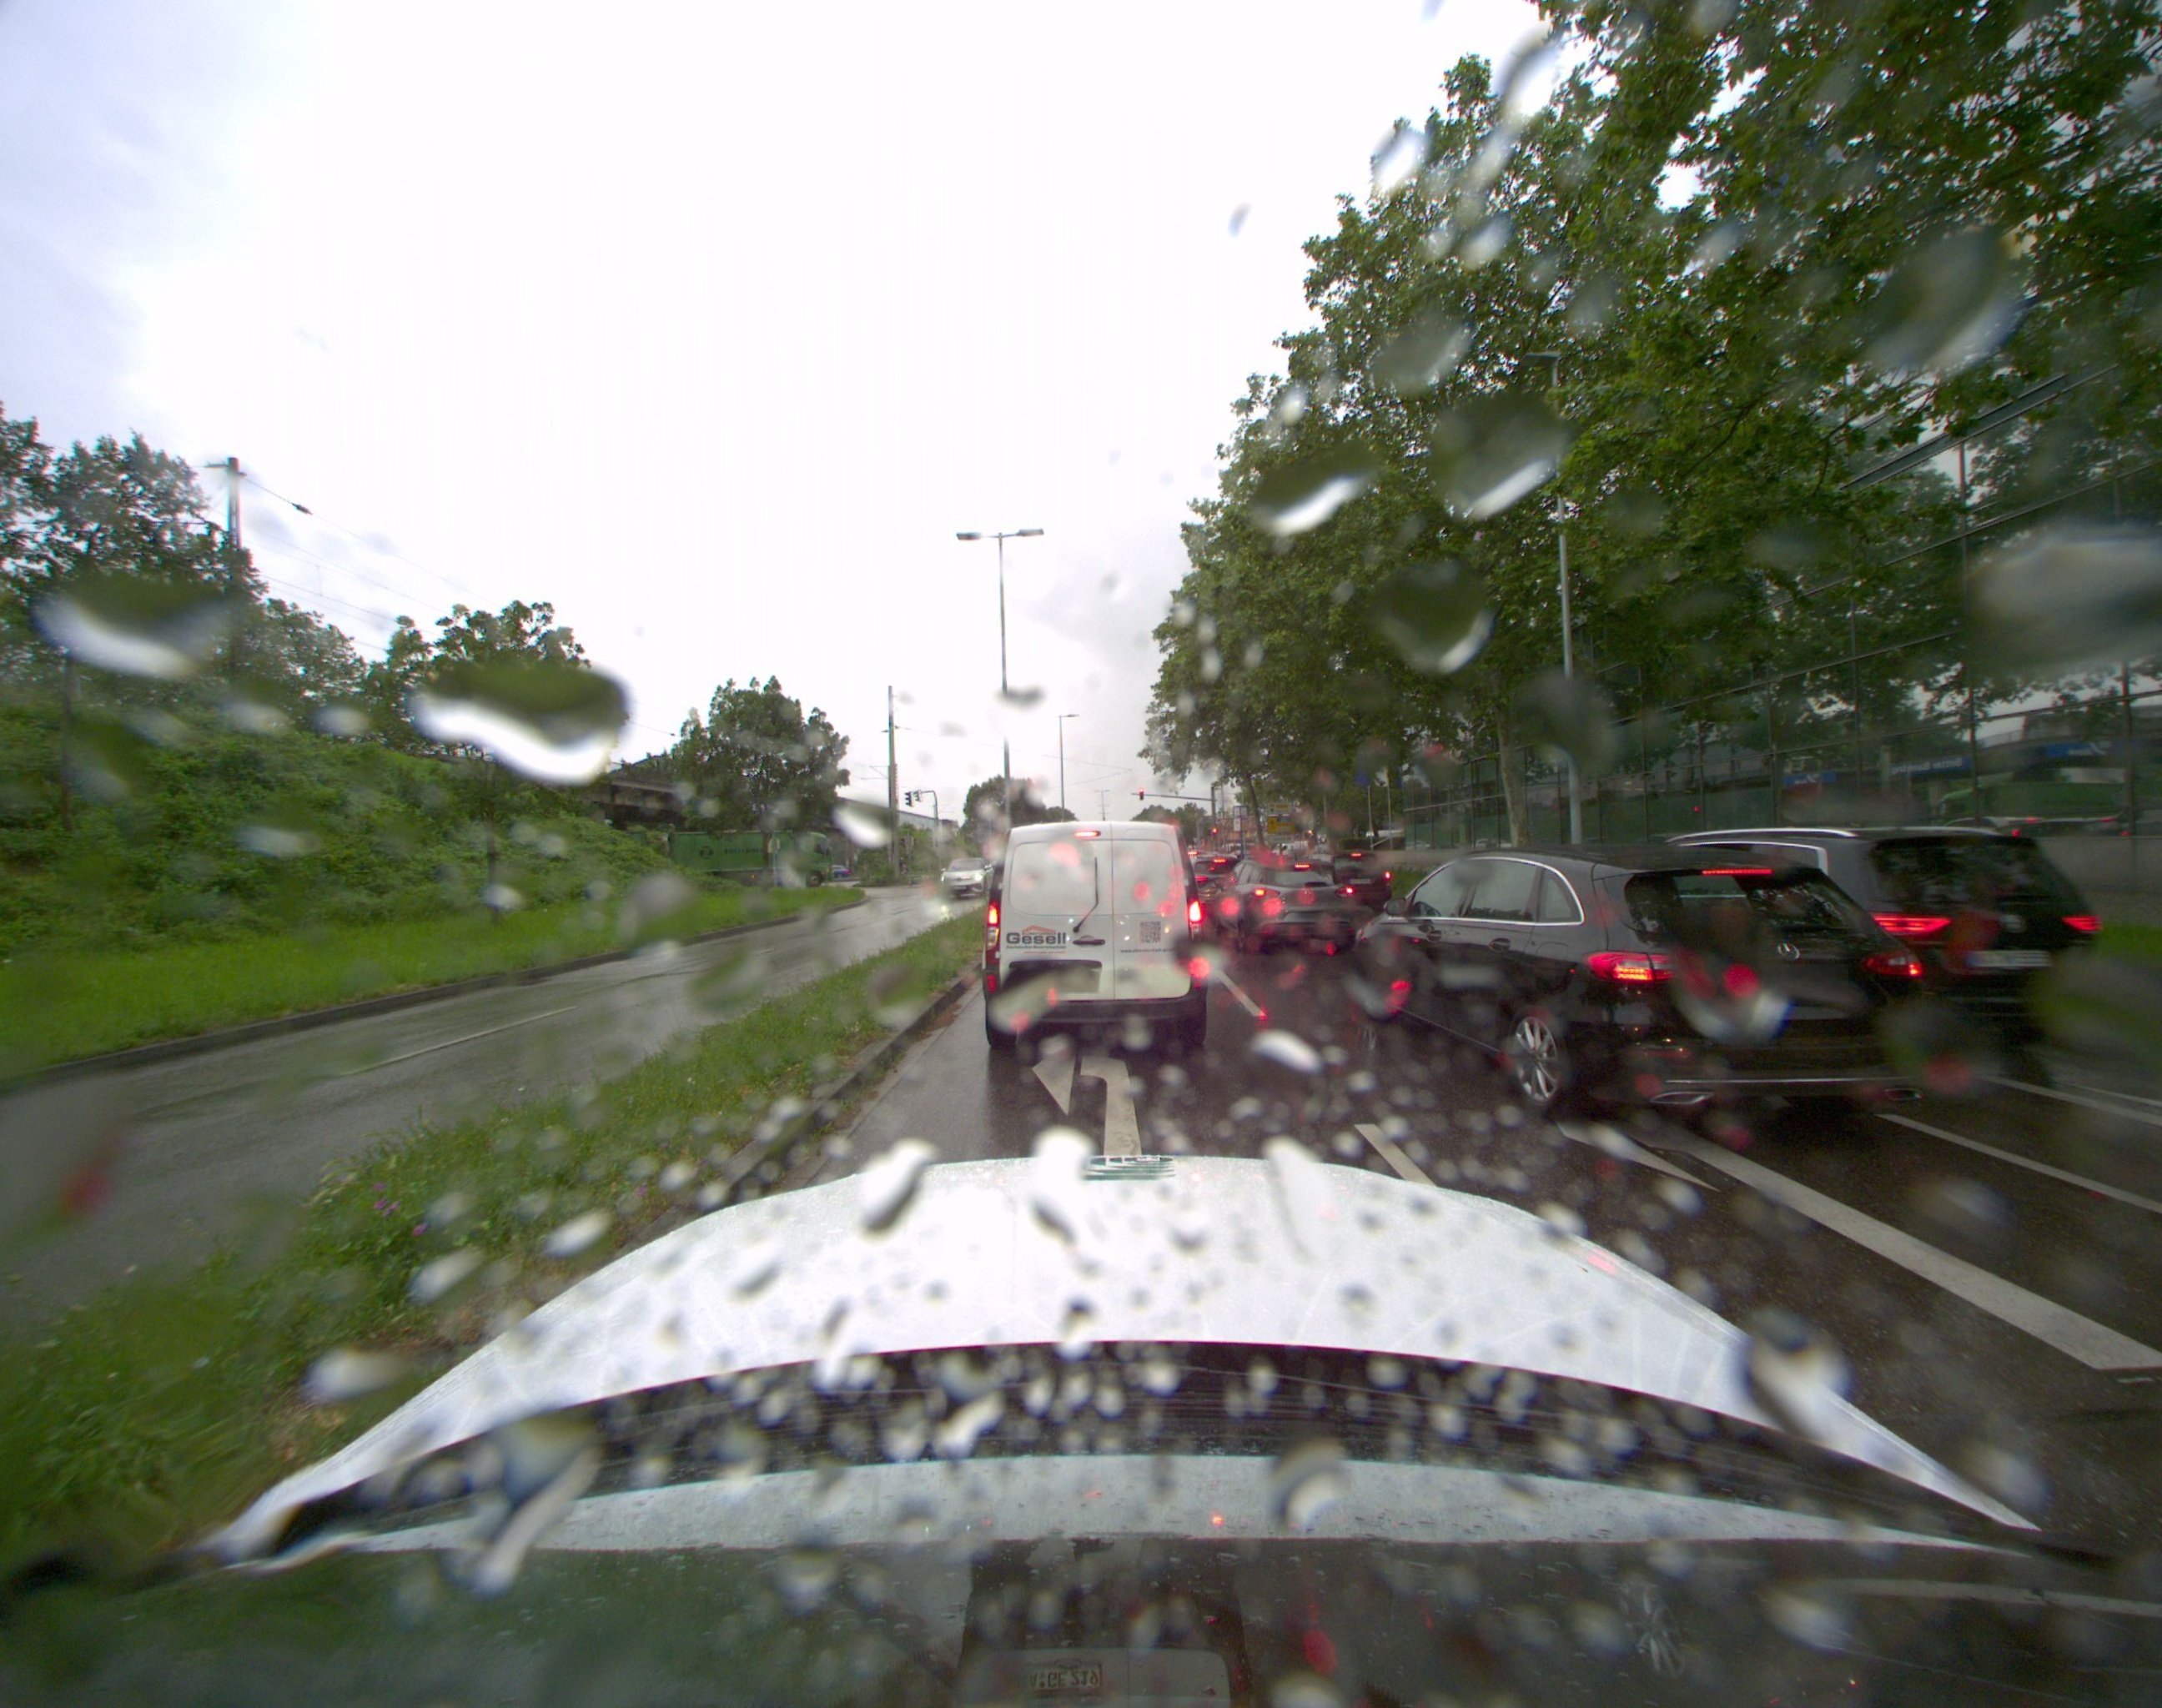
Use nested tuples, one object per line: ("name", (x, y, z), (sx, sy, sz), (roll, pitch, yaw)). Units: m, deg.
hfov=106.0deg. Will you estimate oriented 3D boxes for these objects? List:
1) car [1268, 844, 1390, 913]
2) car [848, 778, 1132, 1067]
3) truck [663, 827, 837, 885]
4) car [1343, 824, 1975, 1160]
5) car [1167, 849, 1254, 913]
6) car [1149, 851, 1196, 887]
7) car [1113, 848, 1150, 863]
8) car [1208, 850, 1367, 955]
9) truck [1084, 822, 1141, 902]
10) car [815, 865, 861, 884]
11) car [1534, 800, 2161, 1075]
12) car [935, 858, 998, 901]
("car", (6.080, 0.560, 20.456), (1.833, 1.537, 4.111), (-1, 0, 1))
("car", (-0.636, 0.482, 7.793), (1.987, 2.013, 4.000), (-1, 0, 0))
("truck", (-21.297, 0.178, 52.898), (10.185, 3.452, 2.629), (0, -2, -36))
("car", (3.385, 0.626, 5.853), (1.703, 1.549, 4.000), (-1, 1, 0))
("car", (3.232, 0.613, 21.039), (1.705, 1.445, 4.002), (-1, 0, 2))
("car", (4.041, 0.638, 36.443), (1.705, 1.445, 4.002), (-1, 0, 2))
("car", (5.909, 0.182, 94.535), (4.014, 1.585, 1.700), (-2, 0, -32))
("car", (3.247, 0.675, 13.563), (1.705, 1.445, 4.002), (-1, 0, 2))
("truck", (1.006, 0.259, 27.595), (1.751, 2.466, 3.999), (-1, 0, 0))
("car", (-23.159, 1.972, 77.617), (3.954, 1.525, 1.761), (-4, 1, -24))
("car", (6.140, 0.544, 7.293), (1.850, 1.726, 4.190), (-1, 0, 0))
("car", (-4.718, 1.017, 34.203), (1.956, 1.525, 4.334), (-3, 1, 0))
